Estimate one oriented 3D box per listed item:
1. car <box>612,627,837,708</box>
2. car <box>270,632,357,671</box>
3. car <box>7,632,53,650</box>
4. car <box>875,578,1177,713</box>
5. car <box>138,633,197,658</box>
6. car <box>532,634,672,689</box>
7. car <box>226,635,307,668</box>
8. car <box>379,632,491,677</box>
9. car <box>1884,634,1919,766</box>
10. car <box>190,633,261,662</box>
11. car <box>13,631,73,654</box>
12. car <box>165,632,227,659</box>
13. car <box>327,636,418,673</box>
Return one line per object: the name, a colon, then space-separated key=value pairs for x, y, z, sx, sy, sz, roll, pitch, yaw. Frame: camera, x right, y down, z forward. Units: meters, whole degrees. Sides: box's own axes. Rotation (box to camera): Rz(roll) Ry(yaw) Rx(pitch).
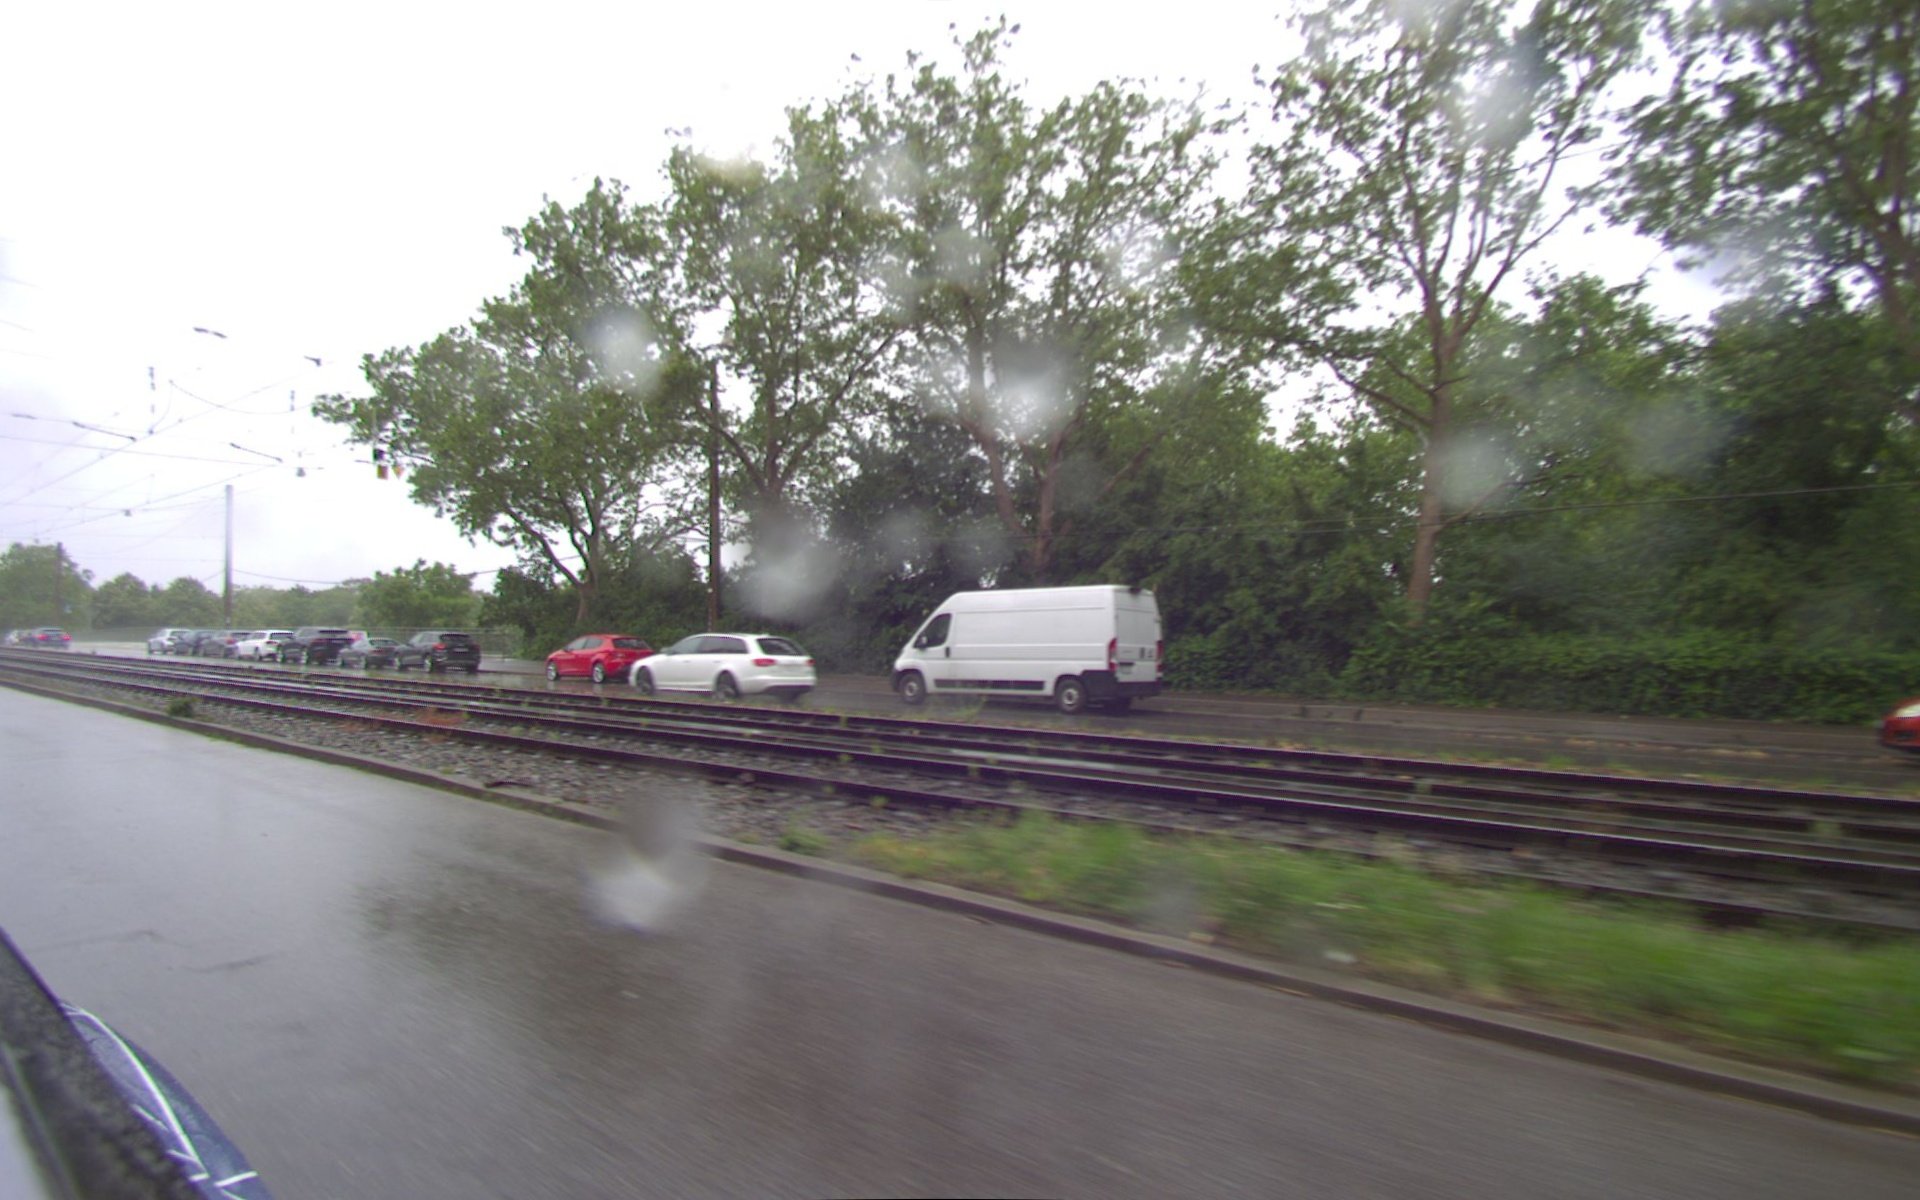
car: x=-5.169 y=1.392 z=21.885 sx=4.988 sy=1.564 sz=2.014 roll=-1 pitch=-3 yaw=37
car: x=-28.728 y=2.256 z=44.946 sx=4.363 sy=1.663 sz=1.867 roll=-1 pitch=-3 yaw=38
car: x=-78.397 y=3.454 z=85.276 sx=4.910 sy=1.478 sz=2.014 roll=-2 pitch=-2 yaw=37
car: x=1.258 y=0.916 z=21.316 sx=6.131 sy=2.465 sz=2.307 roll=-1 pitch=-3 yaw=38
car: x=-46.459 y=2.650 z=59.323 sx=4.144 sy=1.442 sz=1.633 roll=-1 pitch=-3 yaw=36
car: x=-11.009 y=1.848 z=31.014 sx=4.379 sy=1.564 sz=2.013 roll=-1 pitch=-3 yaw=39
car: x=-33.549 y=2.480 z=48.895 sx=4.572 sy=1.522 sz=1.868 roll=-1 pitch=-3 yaw=37
car: x=-19.704 y=2.017 z=37.959 sx=4.377 sy=1.564 sz=2.014 roll=-1 pitch=-3 yaw=37
car: x=13.384 y=1.189 z=11.554 sx=4.019 sy=1.564 sz=1.800 roll=-1 pitch=-3 yaw=38
car: x=-38.248 y=2.474 z=52.672 sx=4.121 sy=1.442 sz=1.634 roll=-1 pitch=-3 yaw=34
car: x=-60.783 y=2.792 z=67.066 sx=4.910 sy=1.478 sz=2.014 roll=-1 pitch=-3 yaw=37
car: x=-42.532 y=2.501 z=56.319 sx=3.917 sy=1.442 sz=1.633 roll=-1 pitch=-3 yaw=35
car: x=-24.019 y=2.205 z=41.313 sx=3.960 sy=1.389 sz=1.867 roll=-1 pitch=-3 yaw=38
